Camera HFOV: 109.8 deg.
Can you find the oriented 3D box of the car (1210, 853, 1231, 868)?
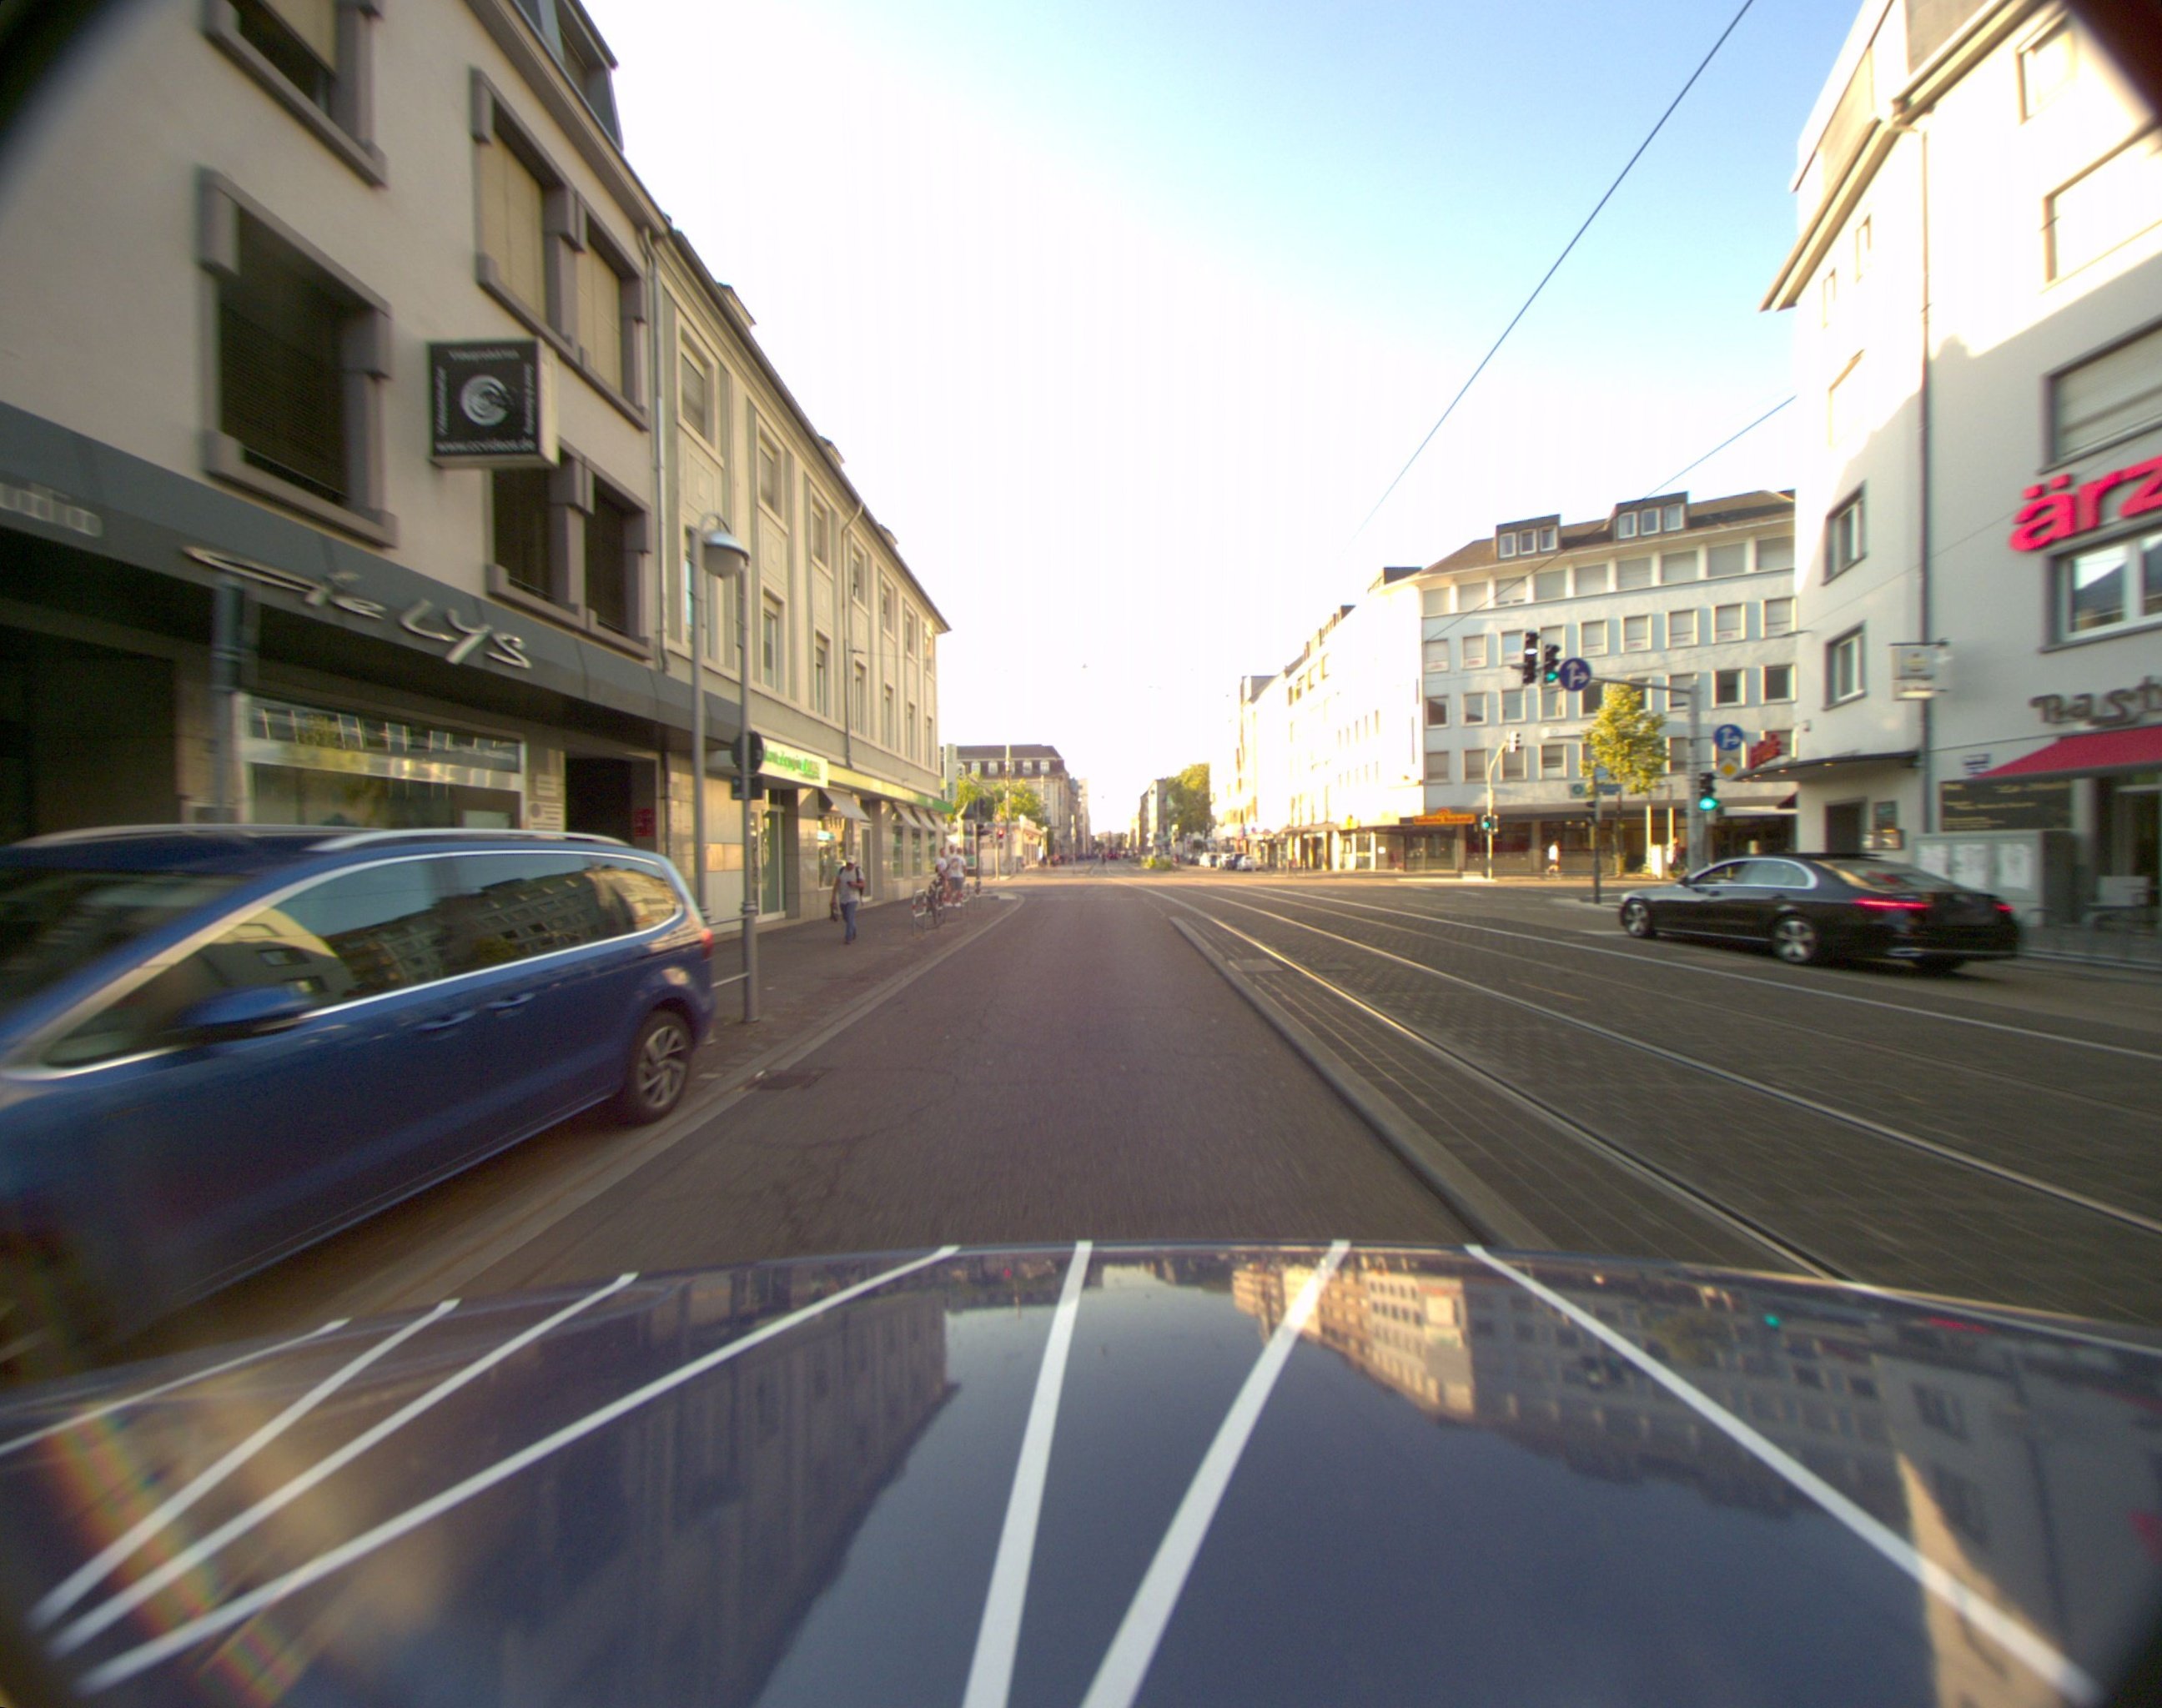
[{"bbox_3d":[15.100,0.686,82.302,1.847,1.625,4.001,-1,0,5],"label":"car"}]

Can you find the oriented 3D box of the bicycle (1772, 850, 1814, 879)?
[{"bbox_3d":[30.254,0.446,32.308,0.469,1.196,1.921,0,0,15],"label":"bicycle"}]

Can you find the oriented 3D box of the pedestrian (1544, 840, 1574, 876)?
[{"bbox_3d":[23.540,0.182,37.438,0.808,1.716,0.991,-3,2,-36],"label":"pedestrian"}]

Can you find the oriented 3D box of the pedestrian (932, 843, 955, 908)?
[{"bbox_3d":[-4.140,0.645,22.888,0.640,1.917,0.529,-1,1,-10],"label":"pedestrian"}]

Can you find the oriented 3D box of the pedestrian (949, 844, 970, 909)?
[{"bbox_3d":[-3.581,0.655,22.436,0.576,1.917,0.496,-1,1,-9],"label":"pedestrian"}]

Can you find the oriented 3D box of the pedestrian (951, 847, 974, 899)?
[{"bbox_3d":[-4.118,0.660,26.451,0.671,1.768,0.647,-1,1,1],"label":"pedestrian"}]

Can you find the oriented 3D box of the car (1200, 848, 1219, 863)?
[{"bbox_3d":[14.836,0.129,87.716,1.847,1.625,4.001,-1,0,5],"label":"car"}]

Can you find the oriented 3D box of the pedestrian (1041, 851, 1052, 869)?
[{"bbox_3d":[-3.125,0.514,68.869,0.806,1.603,0.994,-2,2,1],"label":"pedestrian"}]

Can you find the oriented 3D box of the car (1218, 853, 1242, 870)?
[{"bbox_3d":[14.639,0.726,74.903,1.847,1.625,4.001,-1,0,5],"label":"car"}]

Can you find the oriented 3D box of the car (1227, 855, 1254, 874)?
[{"bbox_3d":[14.311,0.926,68.418,1.847,1.625,4.001,-1,0,5],"label":"car"}]

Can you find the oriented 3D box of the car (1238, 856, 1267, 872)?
[{"bbox_3d":[14.318,0.831,63.686,1.847,1.287,4.001,-1,0,5],"label":"car"}]

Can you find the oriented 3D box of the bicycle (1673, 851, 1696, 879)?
[{"bbox_3d":[26.818,0.470,33.790,0.469,1.196,1.922,0,0,28],"label":"bicycle"}]

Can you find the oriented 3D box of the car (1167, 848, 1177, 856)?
[{"bbox_3d":[17.641,-0.362,147.062,1.847,1.625,4.001,-1,0,5],"label":"car"}]

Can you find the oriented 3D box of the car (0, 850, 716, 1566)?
[{"bbox_3d":[-3.535,0.859,2.871,1.919,1.707,4.564,1,0,3],"label":"car"}]

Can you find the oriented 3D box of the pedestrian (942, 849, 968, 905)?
[{"bbox_3d":[-3.970,0.706,23.964,0.639,1.735,0.699,-1,1,4],"label":"pedestrian"}]

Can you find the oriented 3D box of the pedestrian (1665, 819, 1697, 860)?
[{"bbox_3d":[28.061,-0.652,35.542,0.808,1.876,0.991,-3,2,-36],"label":"pedestrian"}]

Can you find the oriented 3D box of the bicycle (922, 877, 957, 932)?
[{"bbox_3d":[-3.078,1.080,16.679,0.479,1.083,1.647,1,1,-1],"label":"bicycle"}]

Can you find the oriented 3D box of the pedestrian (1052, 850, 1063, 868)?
[{"bbox_3d":[-2.119,0.426,68.801,0.806,1.603,0.994,-2,2,1],"label":"pedestrian"}]

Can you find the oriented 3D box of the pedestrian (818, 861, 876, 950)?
[{"bbox_3d":[-4.208,0.911,13.694,0.698,1.539,0.870,-1,1,4],"label":"pedestrian"}]

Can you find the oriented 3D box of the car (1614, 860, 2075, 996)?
[{"bbox_3d":[9.936,0.822,10.588,1.919,1.378,4.564,1,0,3],"label":"car"}]
